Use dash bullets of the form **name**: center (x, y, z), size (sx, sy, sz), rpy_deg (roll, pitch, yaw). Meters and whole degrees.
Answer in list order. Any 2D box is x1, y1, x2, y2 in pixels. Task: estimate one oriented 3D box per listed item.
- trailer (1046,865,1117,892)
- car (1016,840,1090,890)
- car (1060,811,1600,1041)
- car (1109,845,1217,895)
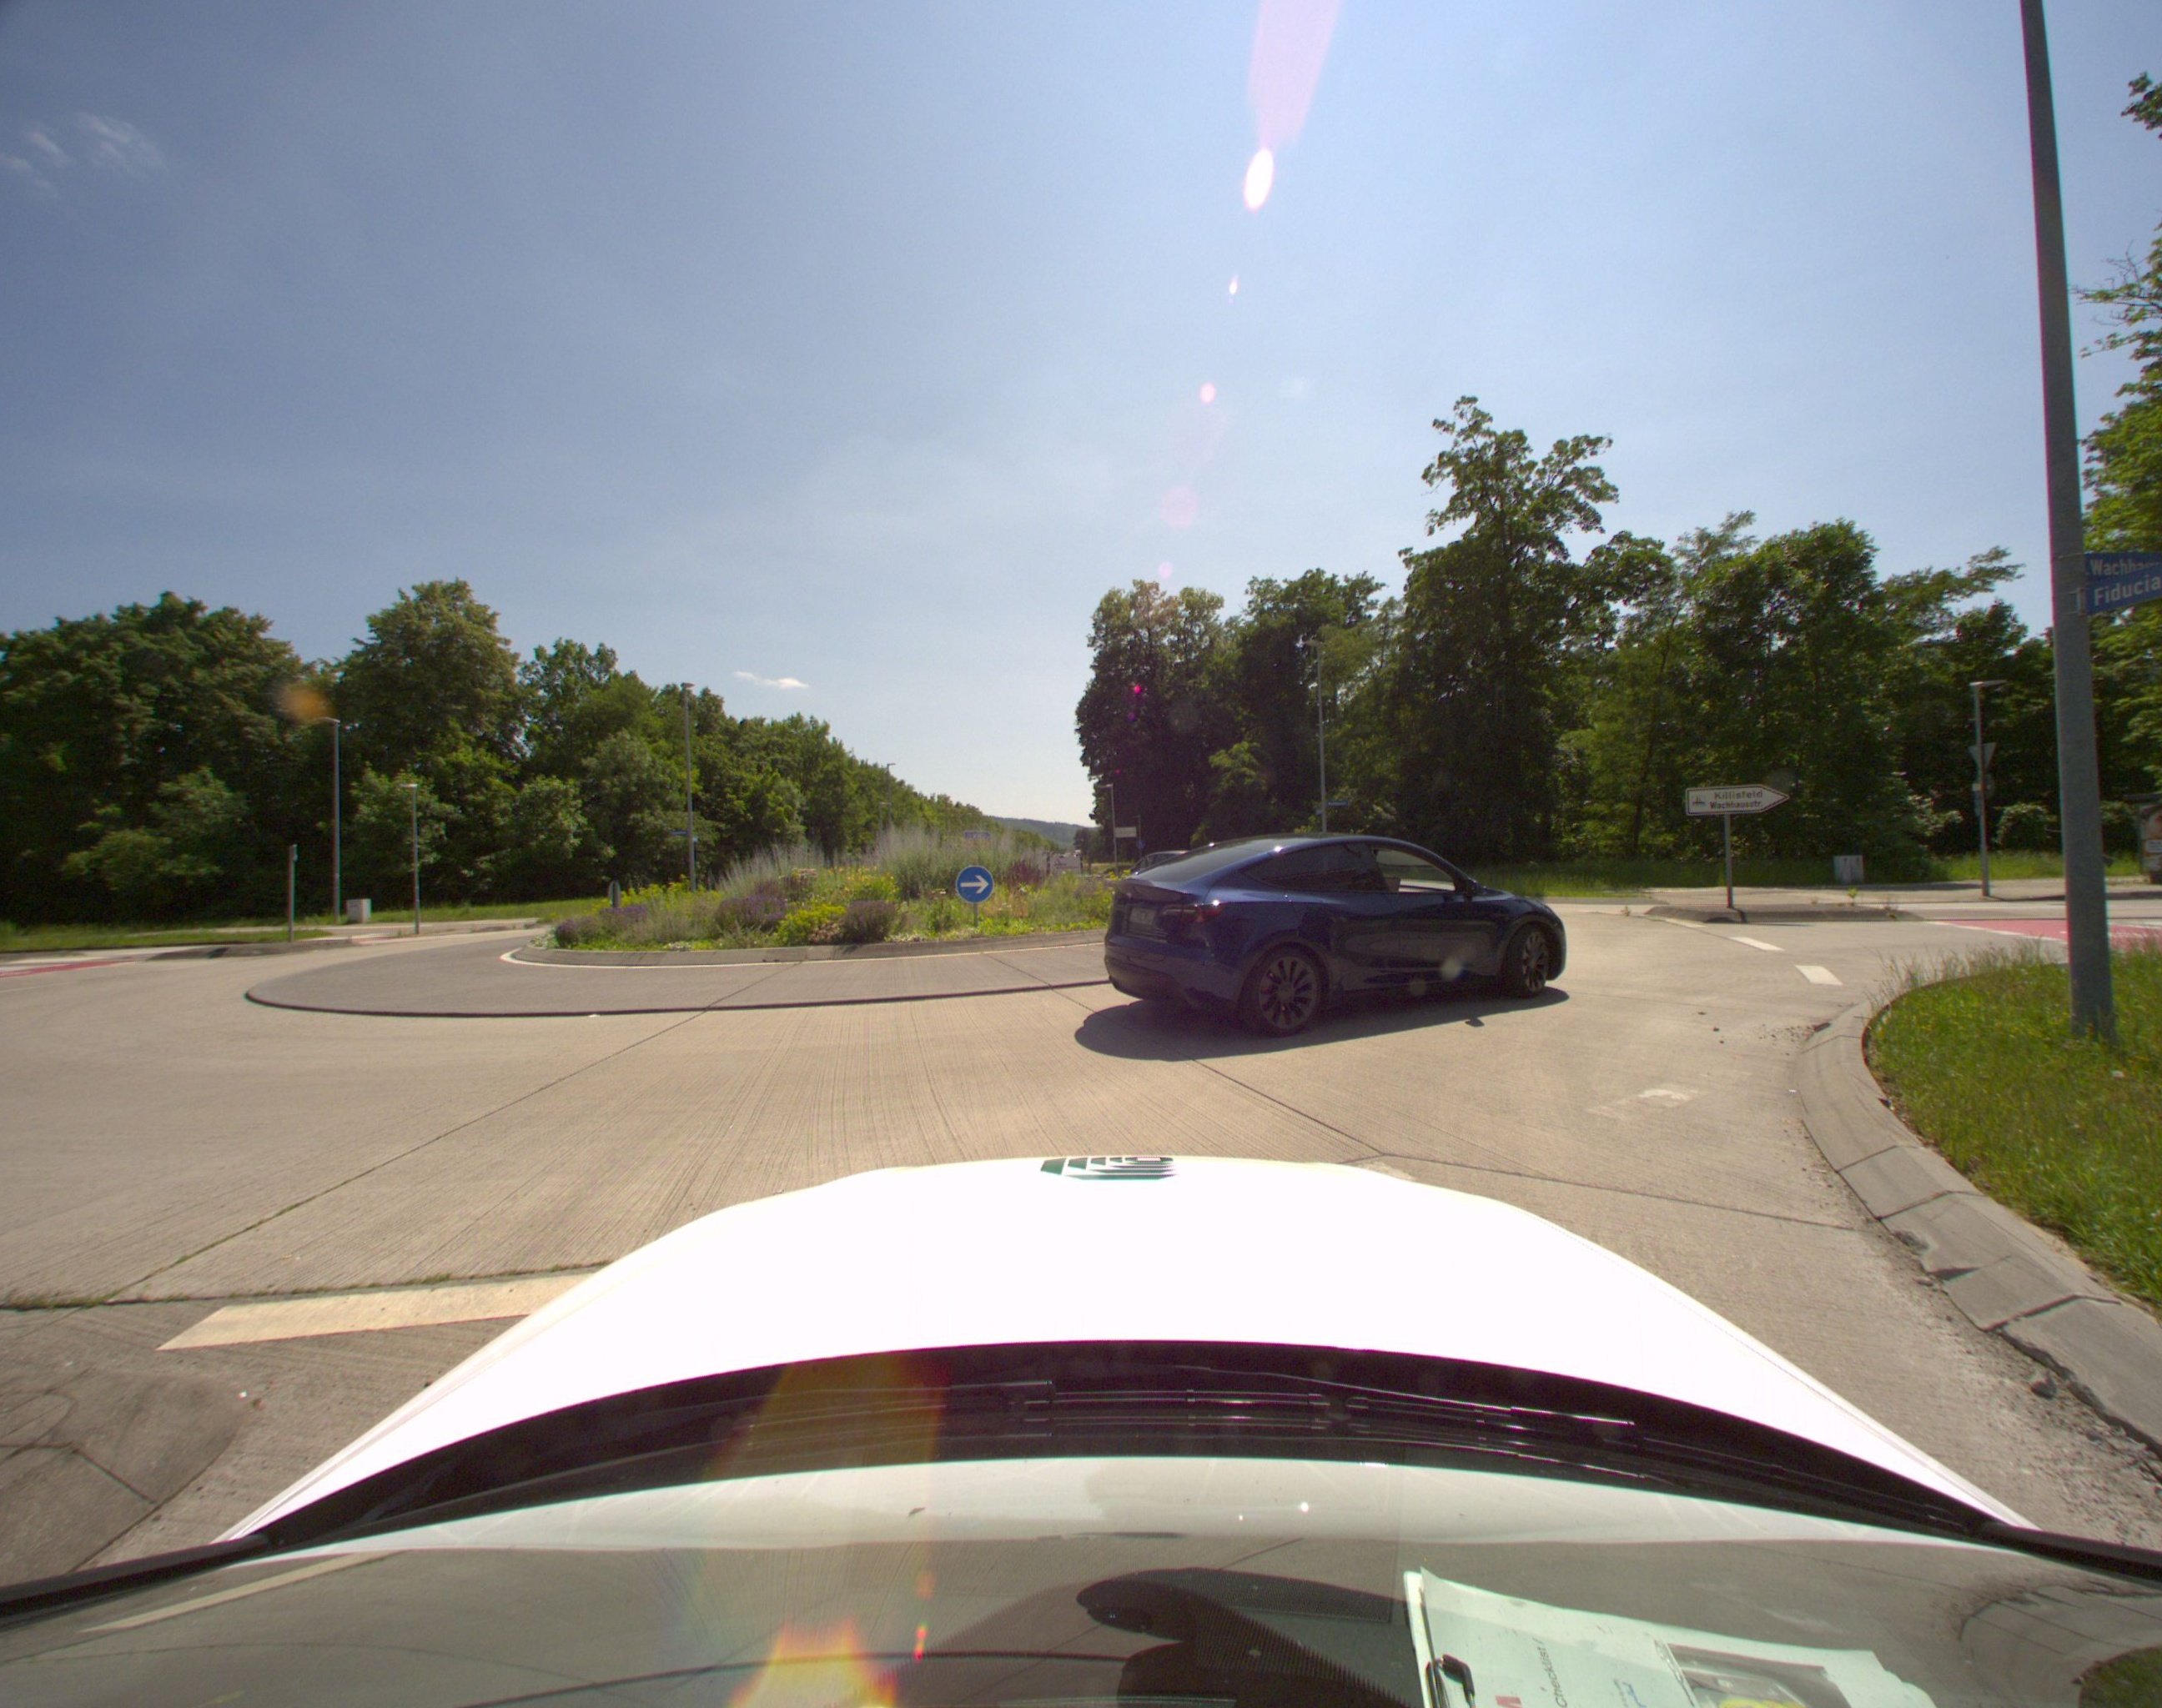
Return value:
- **trailer**: center (-0.021, 1.082, 36.707), size (2.129, 1.097, 3.331), rpy_deg (-1, -1, -21)
- **car**: center (-1.484, 0.572, 40.566), size (2.174, 2.316, 4.945), rpy_deg (-1, -1, -21)
- **car**: center (2.388, 0.491, 7.772), size (4.763, 1.640, 1.984), rpy_deg (-2, -1, -24)
- **car**: center (2.803, 0.561, 28.766), size (1.795, 1.607, 4.089), rpy_deg (0, -1, -29)
